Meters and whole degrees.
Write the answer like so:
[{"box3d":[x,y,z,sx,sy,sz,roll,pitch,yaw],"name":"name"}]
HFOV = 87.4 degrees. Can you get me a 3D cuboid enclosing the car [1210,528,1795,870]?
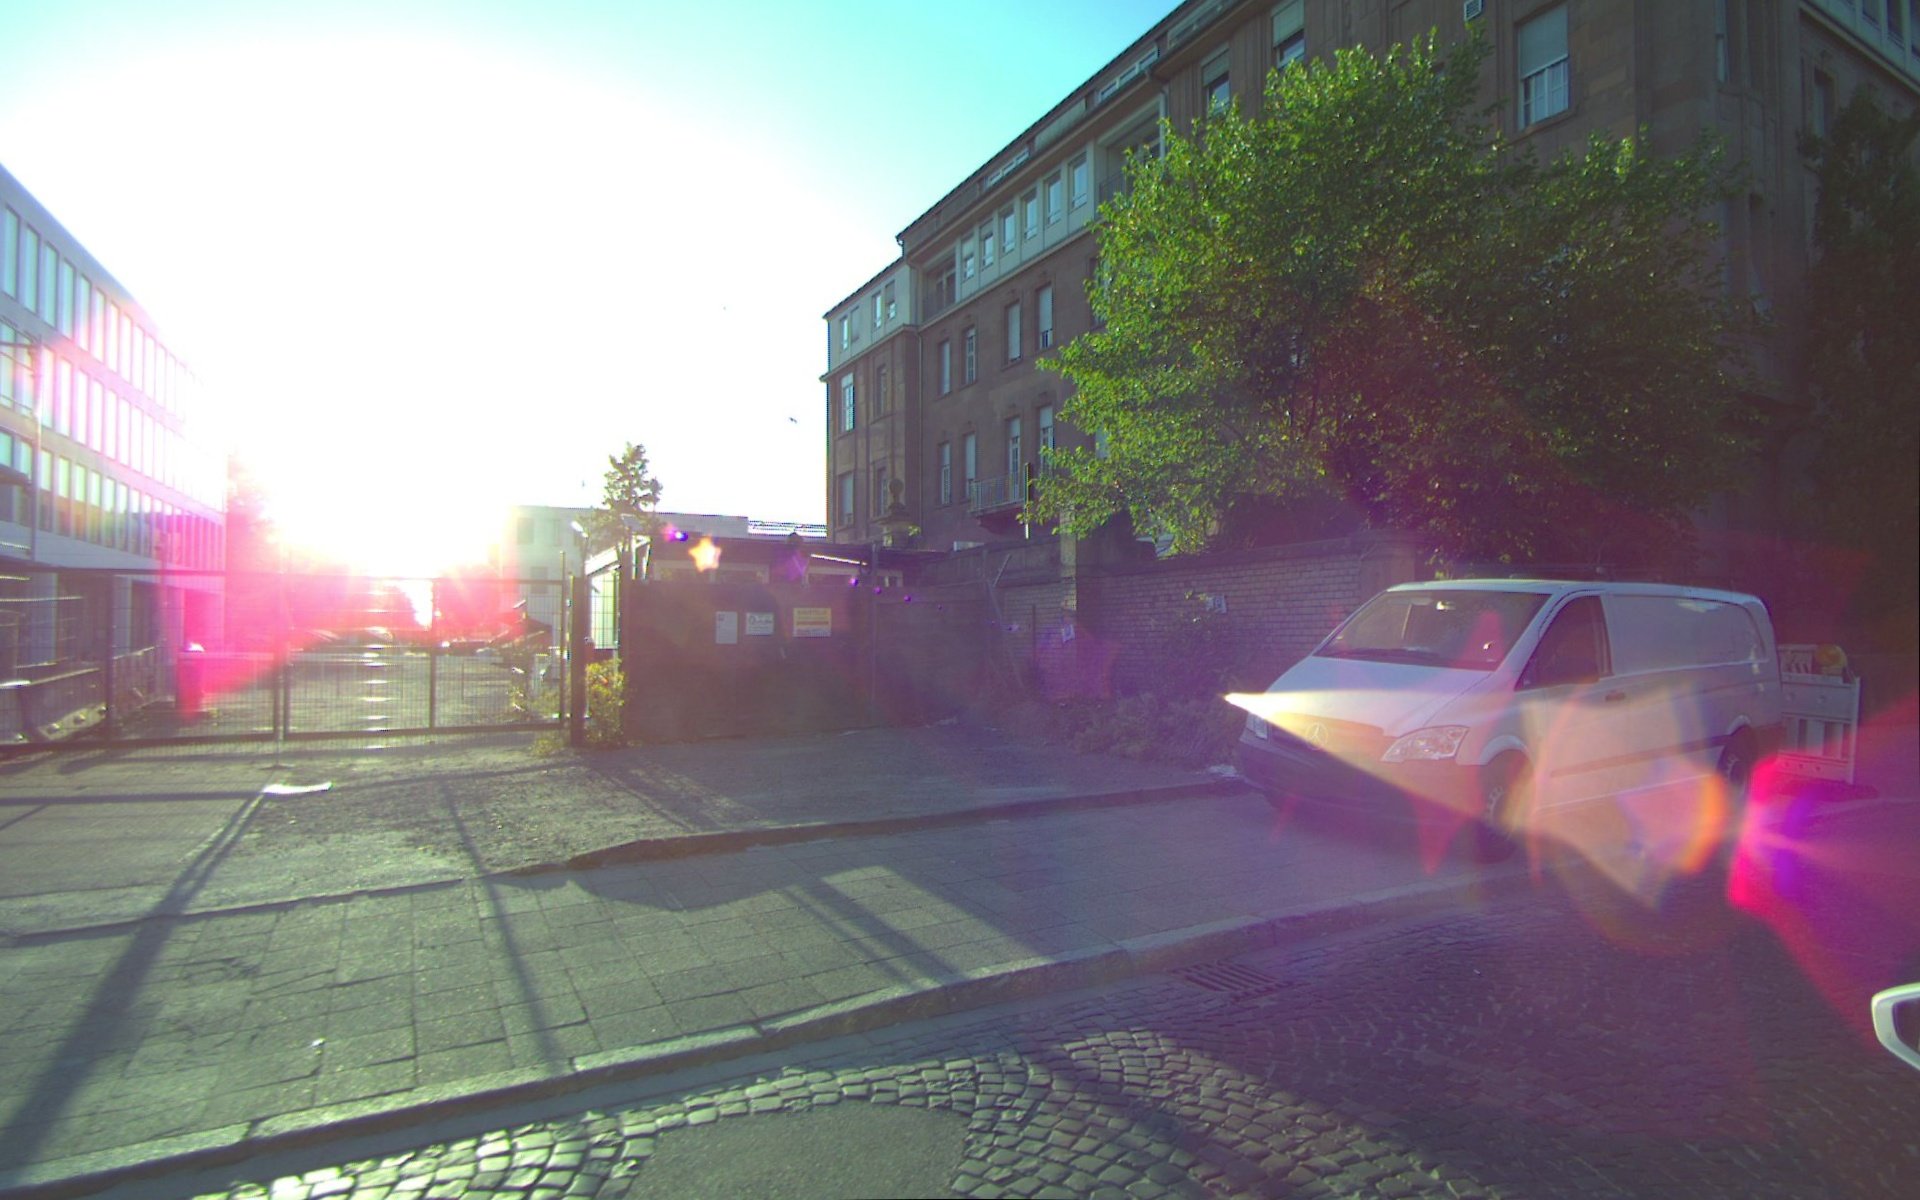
[{"box3d":[4.576,0.707,8.189,5.168,2.040,1.873,2,-3,-32],"name":"car"}]
